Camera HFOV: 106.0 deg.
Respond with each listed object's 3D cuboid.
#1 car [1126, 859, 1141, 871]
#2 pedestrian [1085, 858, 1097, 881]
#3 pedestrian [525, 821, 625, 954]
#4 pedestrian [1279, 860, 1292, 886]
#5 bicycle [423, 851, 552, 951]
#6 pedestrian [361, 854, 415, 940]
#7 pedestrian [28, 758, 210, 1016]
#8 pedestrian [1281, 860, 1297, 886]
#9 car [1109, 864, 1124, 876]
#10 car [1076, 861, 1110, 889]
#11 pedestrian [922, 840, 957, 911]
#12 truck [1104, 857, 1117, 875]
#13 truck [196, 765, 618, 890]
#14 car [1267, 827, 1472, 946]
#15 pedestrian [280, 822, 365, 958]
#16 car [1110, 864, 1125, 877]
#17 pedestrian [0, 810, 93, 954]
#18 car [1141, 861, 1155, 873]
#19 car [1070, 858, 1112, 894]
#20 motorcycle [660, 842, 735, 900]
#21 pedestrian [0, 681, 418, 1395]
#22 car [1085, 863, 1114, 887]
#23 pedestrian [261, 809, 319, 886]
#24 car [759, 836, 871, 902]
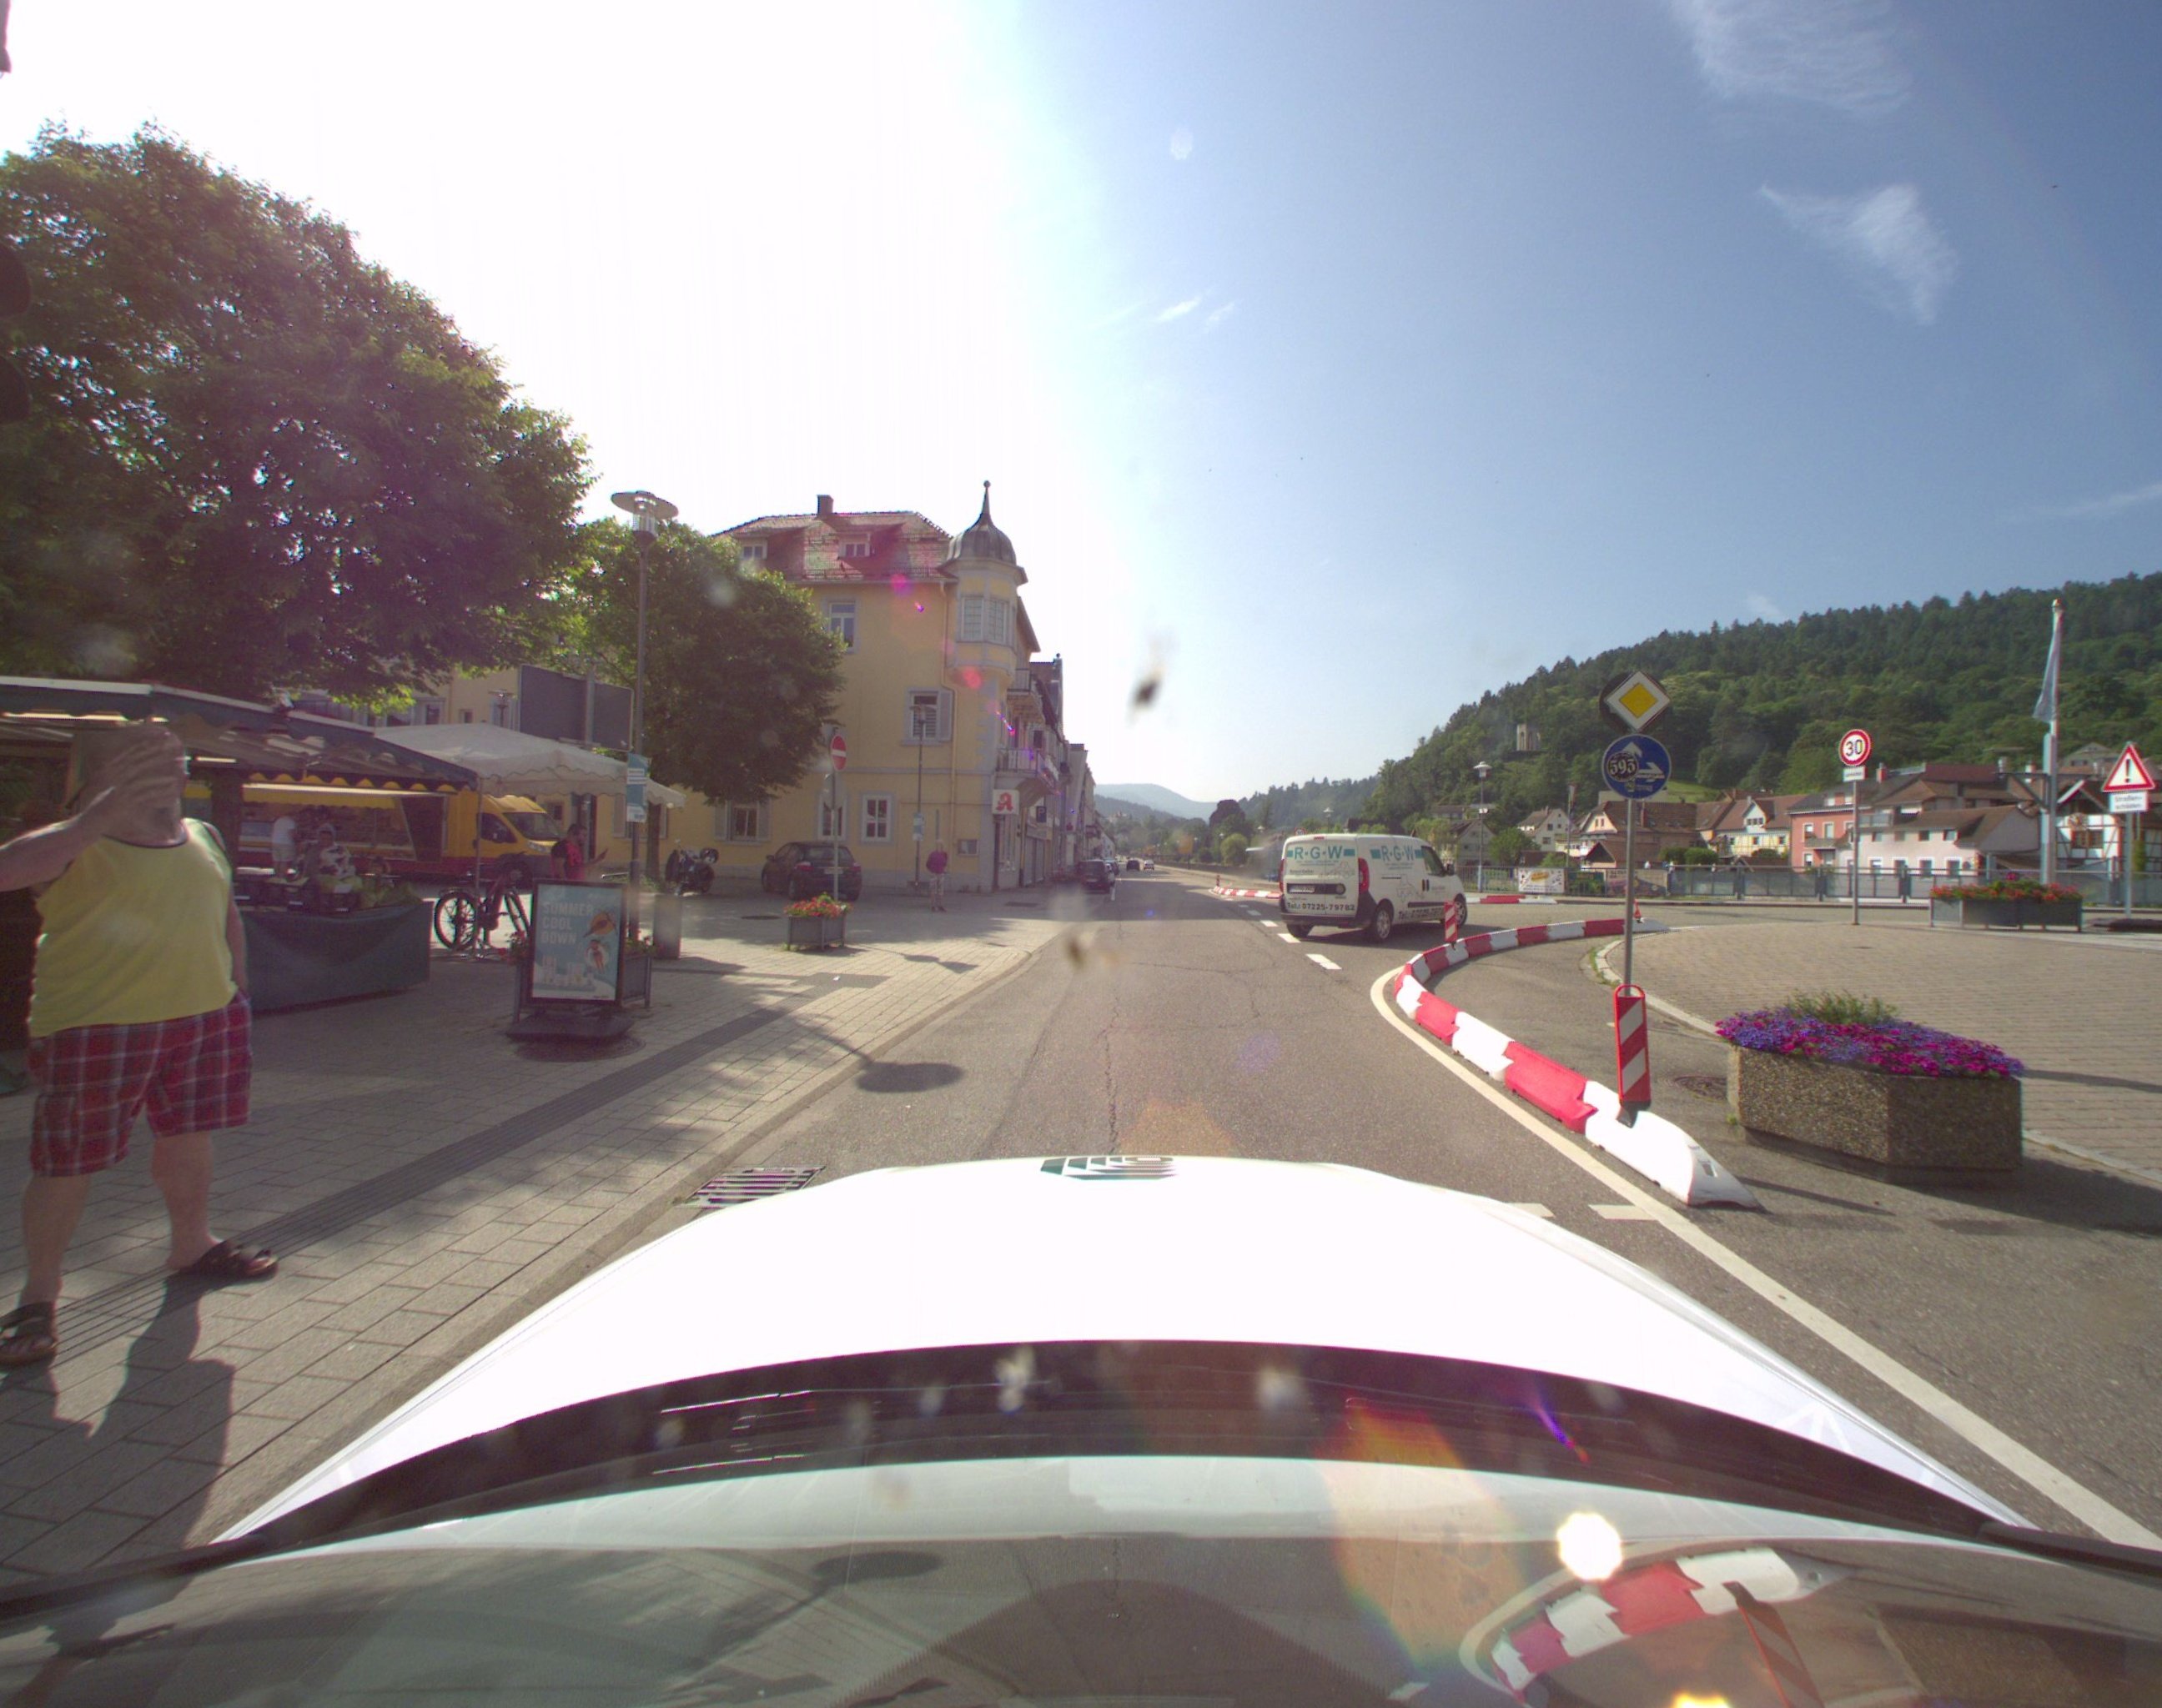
[{"bbox_3d":[7.517,1.558,116.498,1.985,1.662,4.003,2,0,3],"label":"car"},{"bbox_3d":[0.753,1.170,61.609,0.682,1.696,0.664,0,-1,30],"label":"pedestrian"},{"bbox_3d":[-6.646,0.438,10.731,0.566,1.659,0.886,1,-3,13],"label":"pedestrian"},{"bbox_3d":[14.006,1.294,55.694,0.785,1.706,0.492,1,-1,4],"label":"pedestrian"},{"bbox_3d":[-7.905,0.578,10.955,0.615,1.235,1.856,1,0,-10],"label":"bicycle"},{"bbox_3d":[-9.615,0.579,11.311,0.519,1.160,0.615,1,-1,-38],"label":"pedestrian"},{"bbox_3d":[-7.863,0.256,6.699,0.652,1.985,0.703,1,-1,-18],"label":"pedestrian"},{"bbox_3d":[14.067,1.277,55.050,0.862,1.706,0.778,1,-1,4],"label":"pedestrian"},{"bbox_3d":[3.805,1.703,86.896,1.557,1.220,3.277,0,-1,2],"label":"car"},{"bbox_3d":[0.700,1.087,43.650,1.740,1.448,3.277,0,-1,2],"label":"car"},{"bbox_3d":[-3.520,0.531,20.237,0.675,1.714,0.618,2,0,5],"label":"pedestrian"},{"bbox_3d":[3.980,1.603,109.710,1.740,2.468,4.663,0,-1,2],"label":"truck"},{"bbox_3d":[-17.656,-0.688,21.745,8.797,2.758,3.013,2,1,2],"label":"truck"},{"bbox_3d":[5.480,0.479,15.151,4.339,1.906,1.828,-1,1,-43],"label":"car"},{"bbox_3d":[-10.076,0.457,10.847,0.710,1.724,0.779,1,-1,-37],"label":"pedestrian"},{"bbox_3d":[4.139,1.904,93.036,1.740,1.448,3.277,0,-1,2],"label":"car"},{"bbox_3d":[-11.574,0.292,8.962,0.627,1.518,0.623,1,-1,9],"label":"pedestrian"},{"bbox_3d":[10.441,2.021,127.360,1.985,1.662,4.003,2,0,3],"label":"car"},{"bbox_3d":[0.493,0.966,37.320,1.840,1.568,3.569,0,-1,2],"label":"car"},{"bbox_3d":[-9.856,0.412,21.039,0.882,1.360,2.089,1,2,2],"label":"motorcycle"},{"bbox_3d":[-2.972,0.455,2.584,1.008,1.815,0.913,6,0,31],"label":"pedestrian"},{"bbox_3d":[1.189,1.317,51.369,1.740,1.448,3.796,0,-1,2],"label":"car"},{"bbox_3d":[-18.942,-0.172,19.507,0.720,1.786,0.683,2,2,9],"label":"pedestrian"},{"bbox_3d":[-7.346,0.368,22.226,1.930,1.543,3.919,2,1,-33],"label":"car"}]
